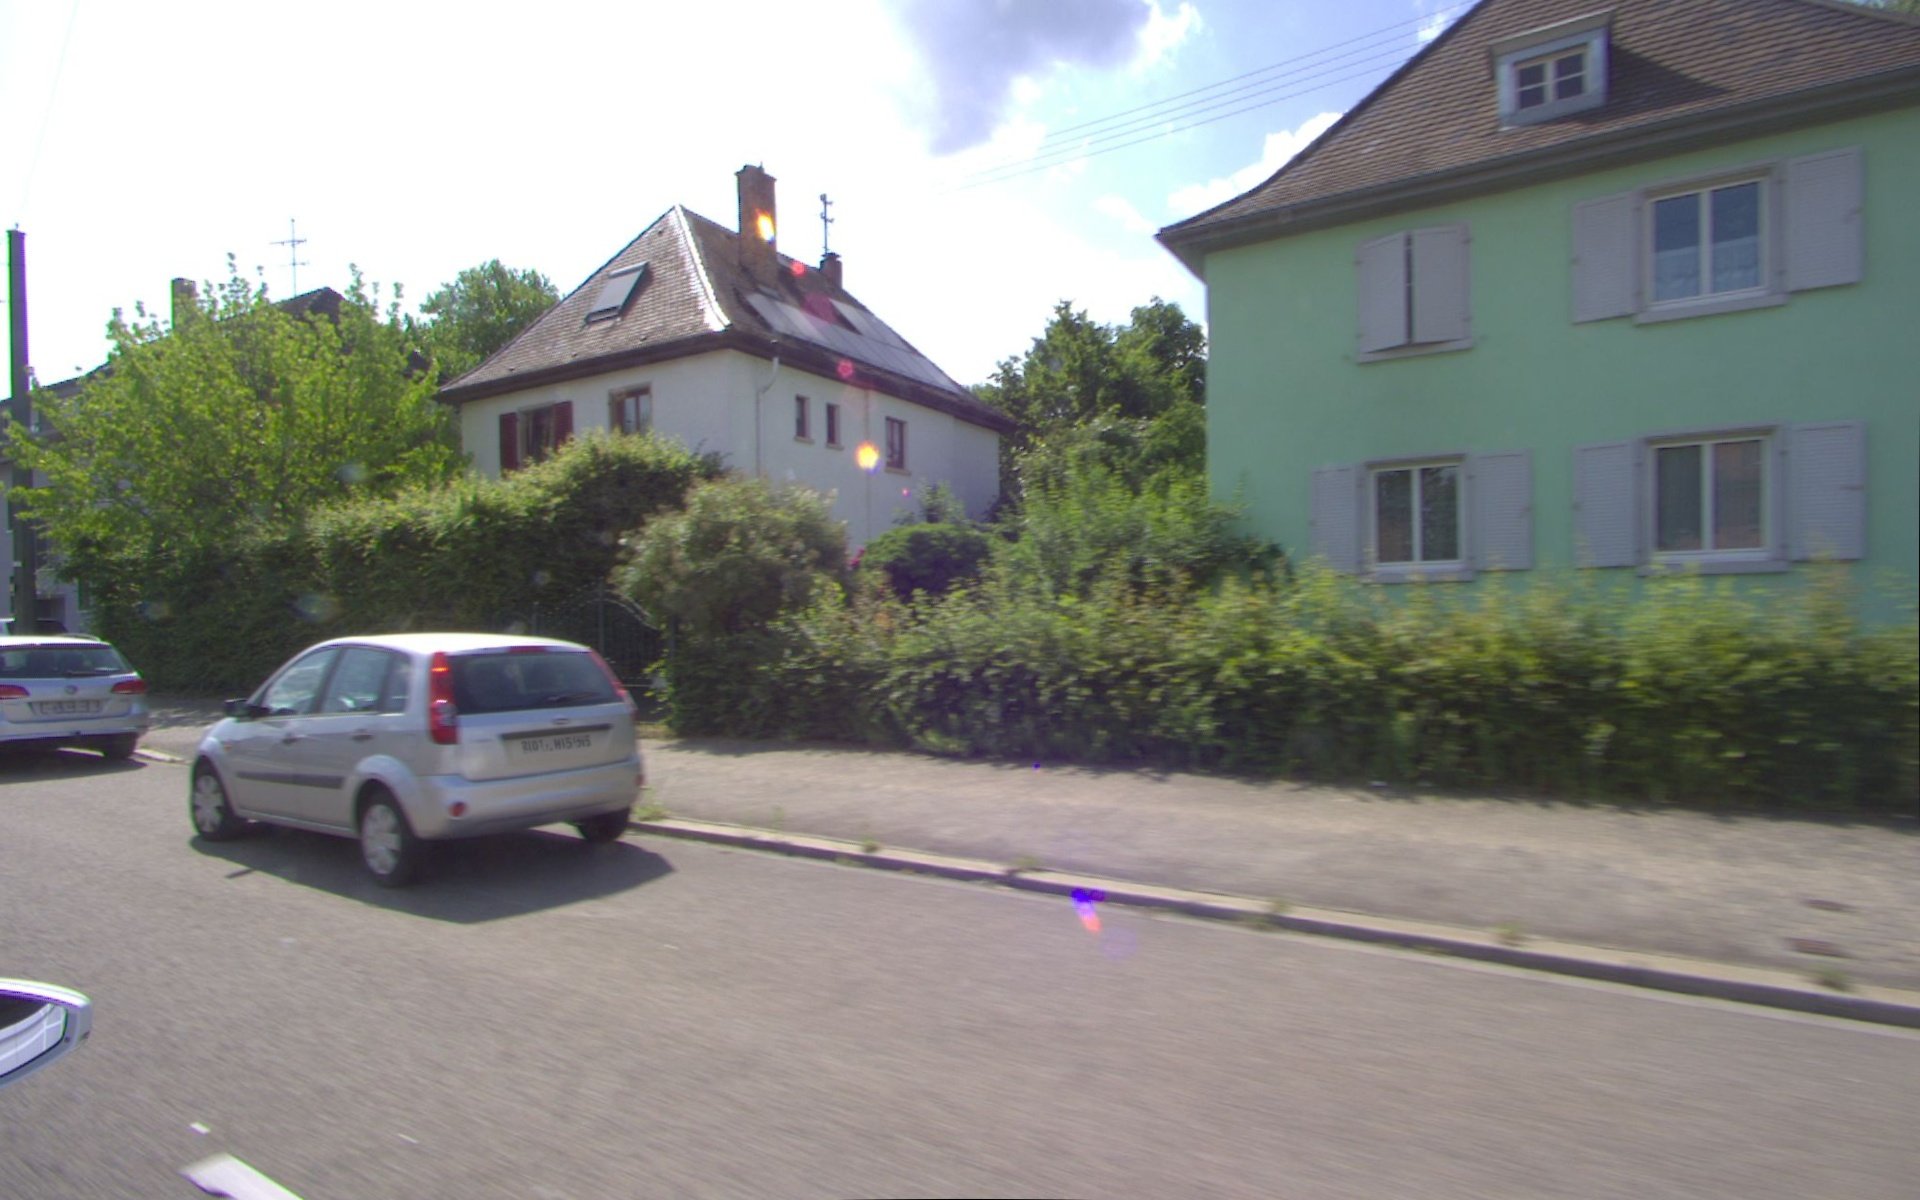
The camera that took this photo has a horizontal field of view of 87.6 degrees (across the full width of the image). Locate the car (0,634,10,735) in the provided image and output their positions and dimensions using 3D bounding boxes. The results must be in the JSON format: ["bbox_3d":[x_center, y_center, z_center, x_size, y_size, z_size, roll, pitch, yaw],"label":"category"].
[{"bbox_3d":[-16.379,1.214,14.978,4.983,1.462,1.897,-1,-2,31],"label":"car"}]

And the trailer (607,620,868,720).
[{"bbox_3d":[-3.447,1.032,16.313,1.650,1.344,4.238,-1,0,32],"label":"trailer"}]

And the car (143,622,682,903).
[{"bbox_3d":[-4.052,0.961,7.230,4.038,1.508,1.734,-2,-3,33],"label":"car"}]

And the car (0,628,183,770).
[{"bbox_3d":[-11.770,1.120,12.248,4.933,1.473,1.888,-2,-3,31],"label":"car"}]

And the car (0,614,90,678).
[{"bbox_3d":[-26.859,1.279,28.321,4.695,1.668,1.755,-2,0,27],"label":"car"}]
